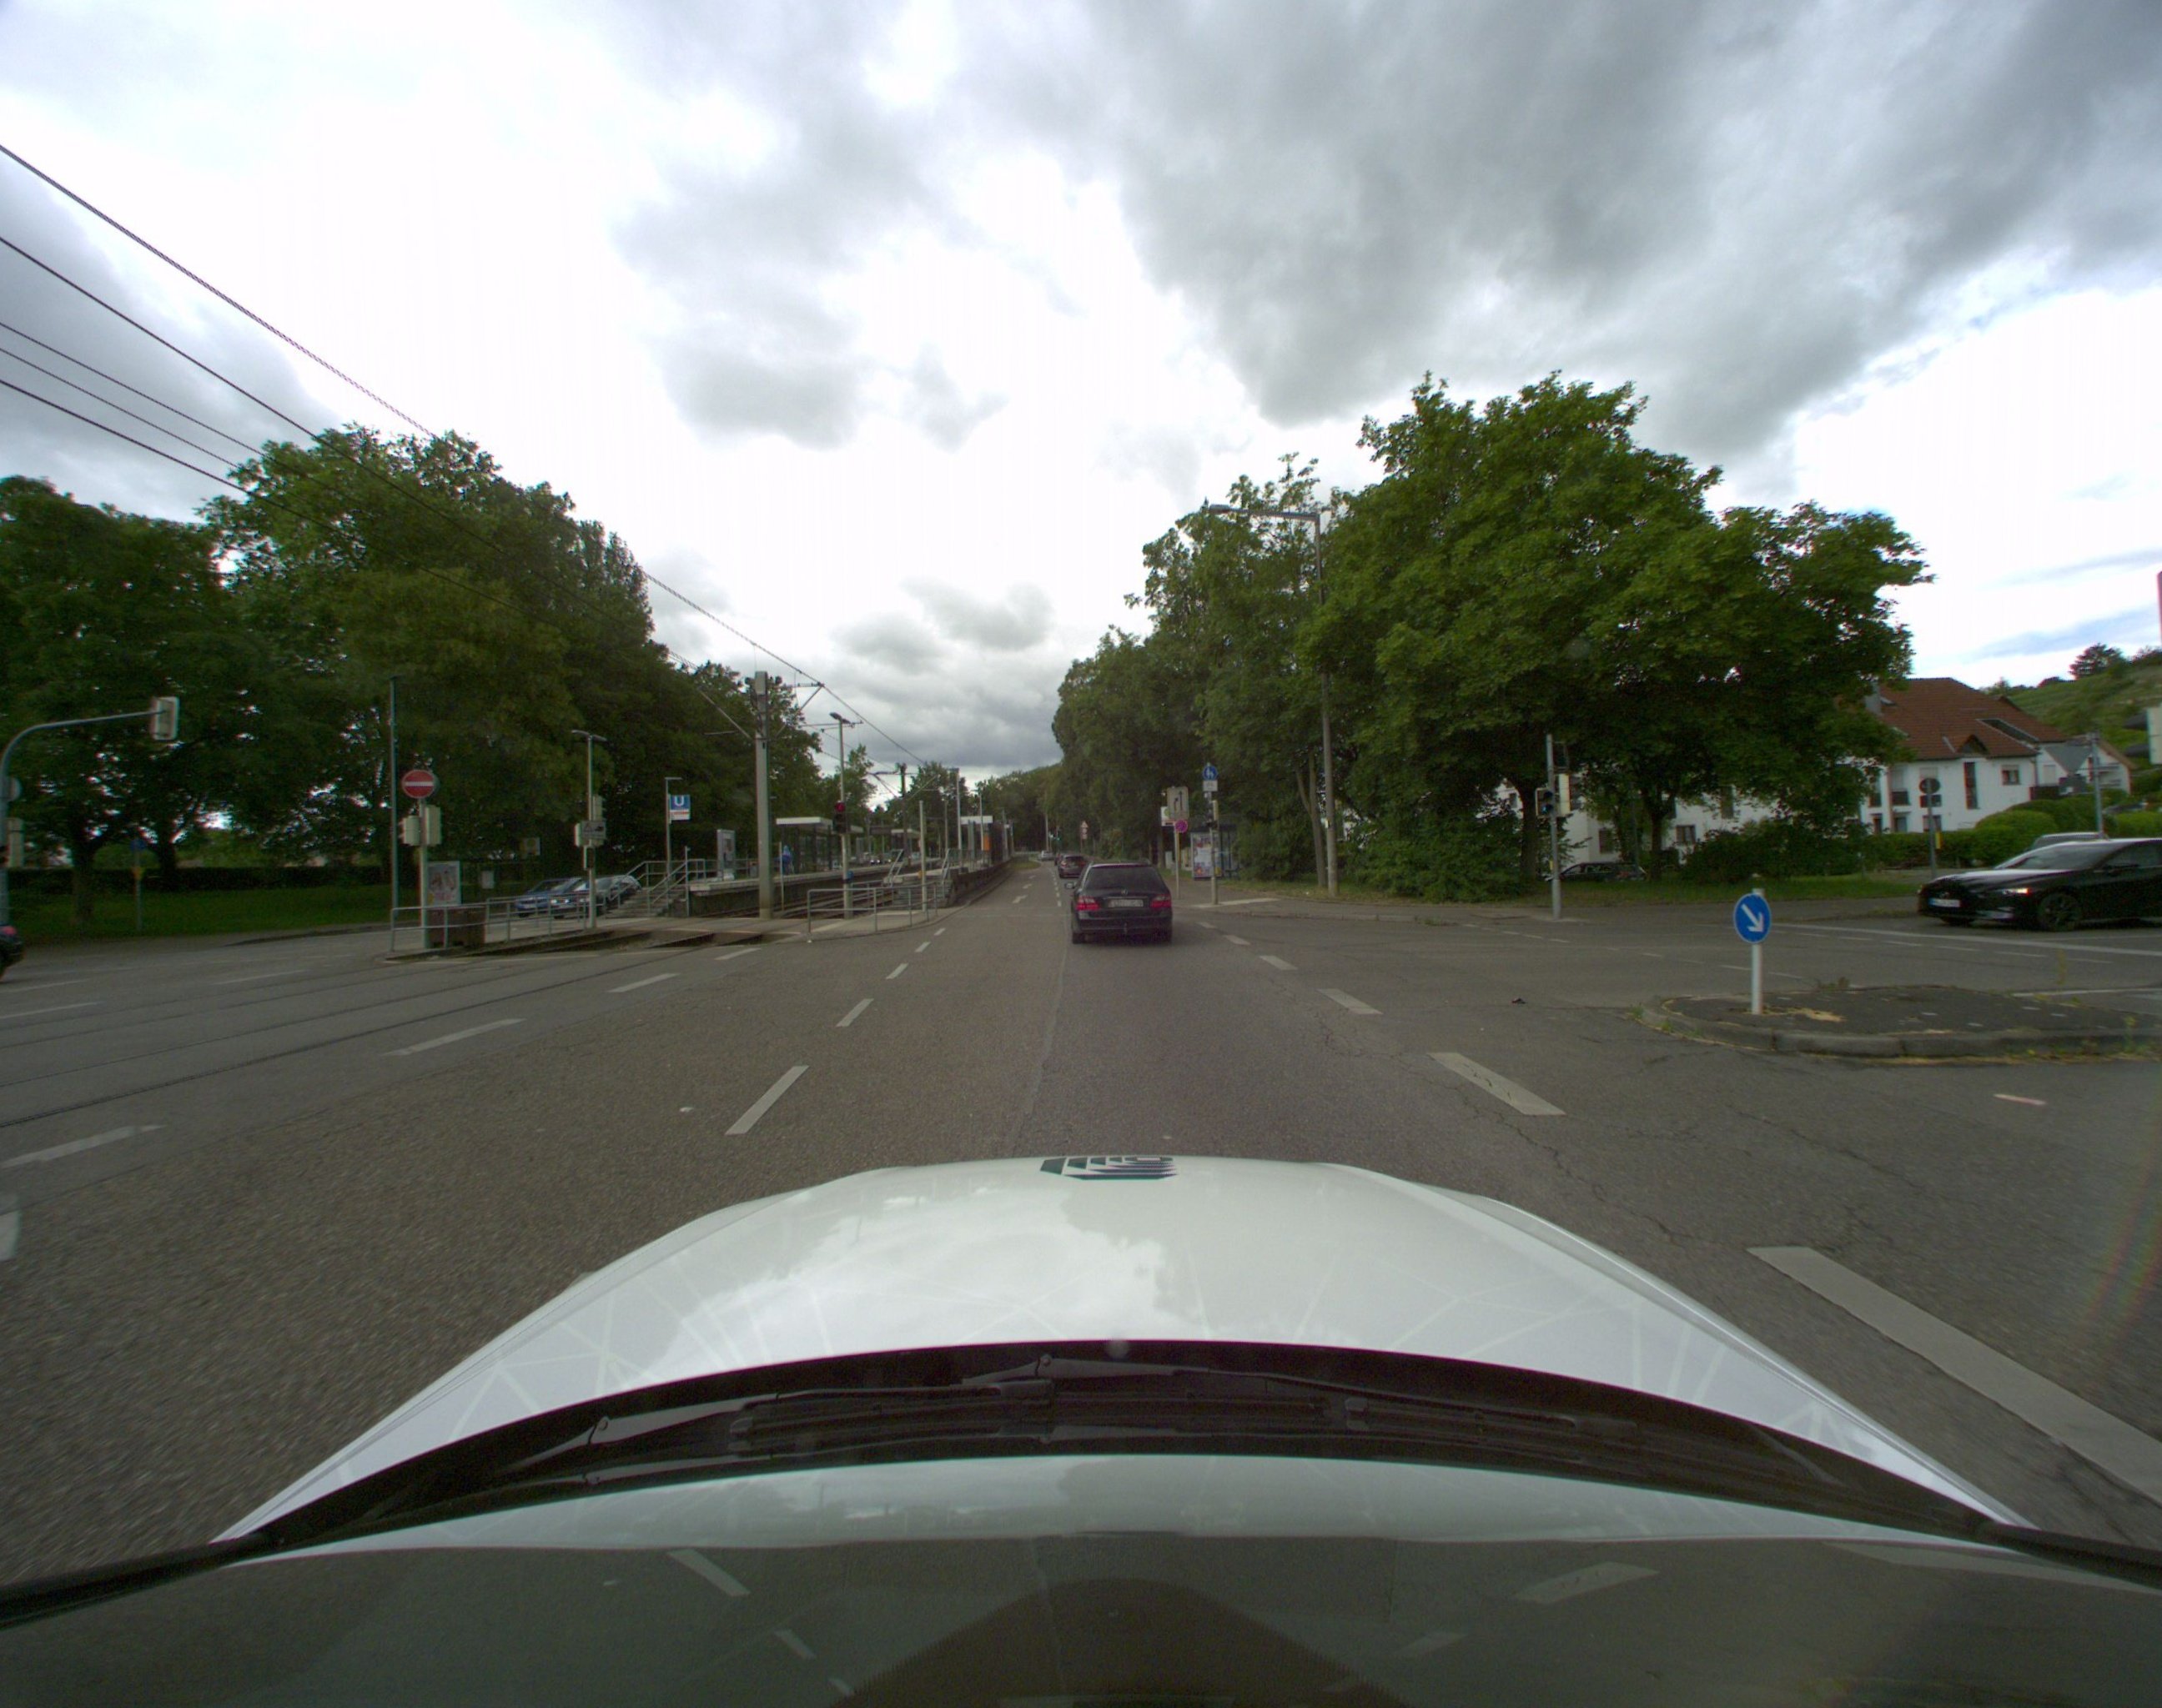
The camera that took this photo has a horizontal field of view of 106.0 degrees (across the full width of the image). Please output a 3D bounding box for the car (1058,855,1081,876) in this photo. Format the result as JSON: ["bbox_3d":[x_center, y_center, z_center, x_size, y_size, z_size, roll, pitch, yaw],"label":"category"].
[{"bbox_3d":[-0.989,0.931,66.866,1.777,1.648,3.996,0,-1,-2],"label":"car"}]

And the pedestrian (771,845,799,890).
[{"bbox_3d":[-14.782,0.690,40.692,0.967,2.186,0.975,-2,-1,-2],"label":"pedestrian"}]

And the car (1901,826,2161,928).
[{"bbox_3d":[16.777,0.346,13.631,4.132,1.526,1.707,-2,-2,5],"label":"car"}]

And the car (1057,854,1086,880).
[{"bbox_3d":[-0.644,0.850,52.862,1.777,1.648,3.997,0,-1,-2],"label":"car"}]

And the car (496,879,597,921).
[{"bbox_3d":[-21.210,1.788,32.503,1.592,1.446,4.046,-4,-1,-5],"label":"car"}]

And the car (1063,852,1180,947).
[{"bbox_3d":[0.630,0.746,15.482,1.778,1.525,3.995,-1,0,-3],"label":"car"}]

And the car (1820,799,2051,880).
[{"bbox_3d":[23.847,-0.374,22.935,3.956,2.014,2.009,-2,-1,16],"label":"car"}]

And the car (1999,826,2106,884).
[{"bbox_3d":[31.533,0.071,26.415,4.018,1.766,1.978,1,-2,-37],"label":"car"}]

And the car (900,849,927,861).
[{"bbox_3d":[-27.374,0.161,133.153,3.948,2.014,2.012,-1,-2,32],"label":"car"}]

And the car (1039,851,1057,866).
[{"bbox_3d":[-4.227,0.597,104.215,1.991,1.893,3.990,0,-1,-7],"label":"car"}]

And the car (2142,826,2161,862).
[{"bbox_3d":[45.149,-0.390,33.170,4.485,1.426,1.979,1,-2,-33],"label":"car"}]

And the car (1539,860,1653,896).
[{"bbox_3d":[22.272,1.019,35.444,1.662,1.461,4.269,0,-1,-13],"label":"car"}]

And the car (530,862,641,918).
[{"bbox_3d":[-17.674,1.248,29.276,1.693,1.860,3.994,0,-1,-3],"label":"car"}]

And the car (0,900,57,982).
[{"bbox_3d":[-21.191,1.700,13.823,1.990,1.482,4.500,-3,0,-4],"label":"car"}]

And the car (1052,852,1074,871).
[{"bbox_3d":[-1.879,0.822,83.267,1.990,1.918,3.993,0,-1,-4],"label":"car"}]

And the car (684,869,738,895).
[{"bbox_3d":[-23.514,1.770,51.922,1.682,1.446,3.994,-4,-1,-4],"label":"car"}]

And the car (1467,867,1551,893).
[{"bbox_3d":[21.311,1.265,40.743,1.623,1.246,3.840,0,-1,-13],"label":"car"}]

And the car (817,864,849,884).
[{"bbox_3d":[-22.861,1.861,75.286,1.706,1.751,4.395,-3,-1,-3],"label":"car"}]
